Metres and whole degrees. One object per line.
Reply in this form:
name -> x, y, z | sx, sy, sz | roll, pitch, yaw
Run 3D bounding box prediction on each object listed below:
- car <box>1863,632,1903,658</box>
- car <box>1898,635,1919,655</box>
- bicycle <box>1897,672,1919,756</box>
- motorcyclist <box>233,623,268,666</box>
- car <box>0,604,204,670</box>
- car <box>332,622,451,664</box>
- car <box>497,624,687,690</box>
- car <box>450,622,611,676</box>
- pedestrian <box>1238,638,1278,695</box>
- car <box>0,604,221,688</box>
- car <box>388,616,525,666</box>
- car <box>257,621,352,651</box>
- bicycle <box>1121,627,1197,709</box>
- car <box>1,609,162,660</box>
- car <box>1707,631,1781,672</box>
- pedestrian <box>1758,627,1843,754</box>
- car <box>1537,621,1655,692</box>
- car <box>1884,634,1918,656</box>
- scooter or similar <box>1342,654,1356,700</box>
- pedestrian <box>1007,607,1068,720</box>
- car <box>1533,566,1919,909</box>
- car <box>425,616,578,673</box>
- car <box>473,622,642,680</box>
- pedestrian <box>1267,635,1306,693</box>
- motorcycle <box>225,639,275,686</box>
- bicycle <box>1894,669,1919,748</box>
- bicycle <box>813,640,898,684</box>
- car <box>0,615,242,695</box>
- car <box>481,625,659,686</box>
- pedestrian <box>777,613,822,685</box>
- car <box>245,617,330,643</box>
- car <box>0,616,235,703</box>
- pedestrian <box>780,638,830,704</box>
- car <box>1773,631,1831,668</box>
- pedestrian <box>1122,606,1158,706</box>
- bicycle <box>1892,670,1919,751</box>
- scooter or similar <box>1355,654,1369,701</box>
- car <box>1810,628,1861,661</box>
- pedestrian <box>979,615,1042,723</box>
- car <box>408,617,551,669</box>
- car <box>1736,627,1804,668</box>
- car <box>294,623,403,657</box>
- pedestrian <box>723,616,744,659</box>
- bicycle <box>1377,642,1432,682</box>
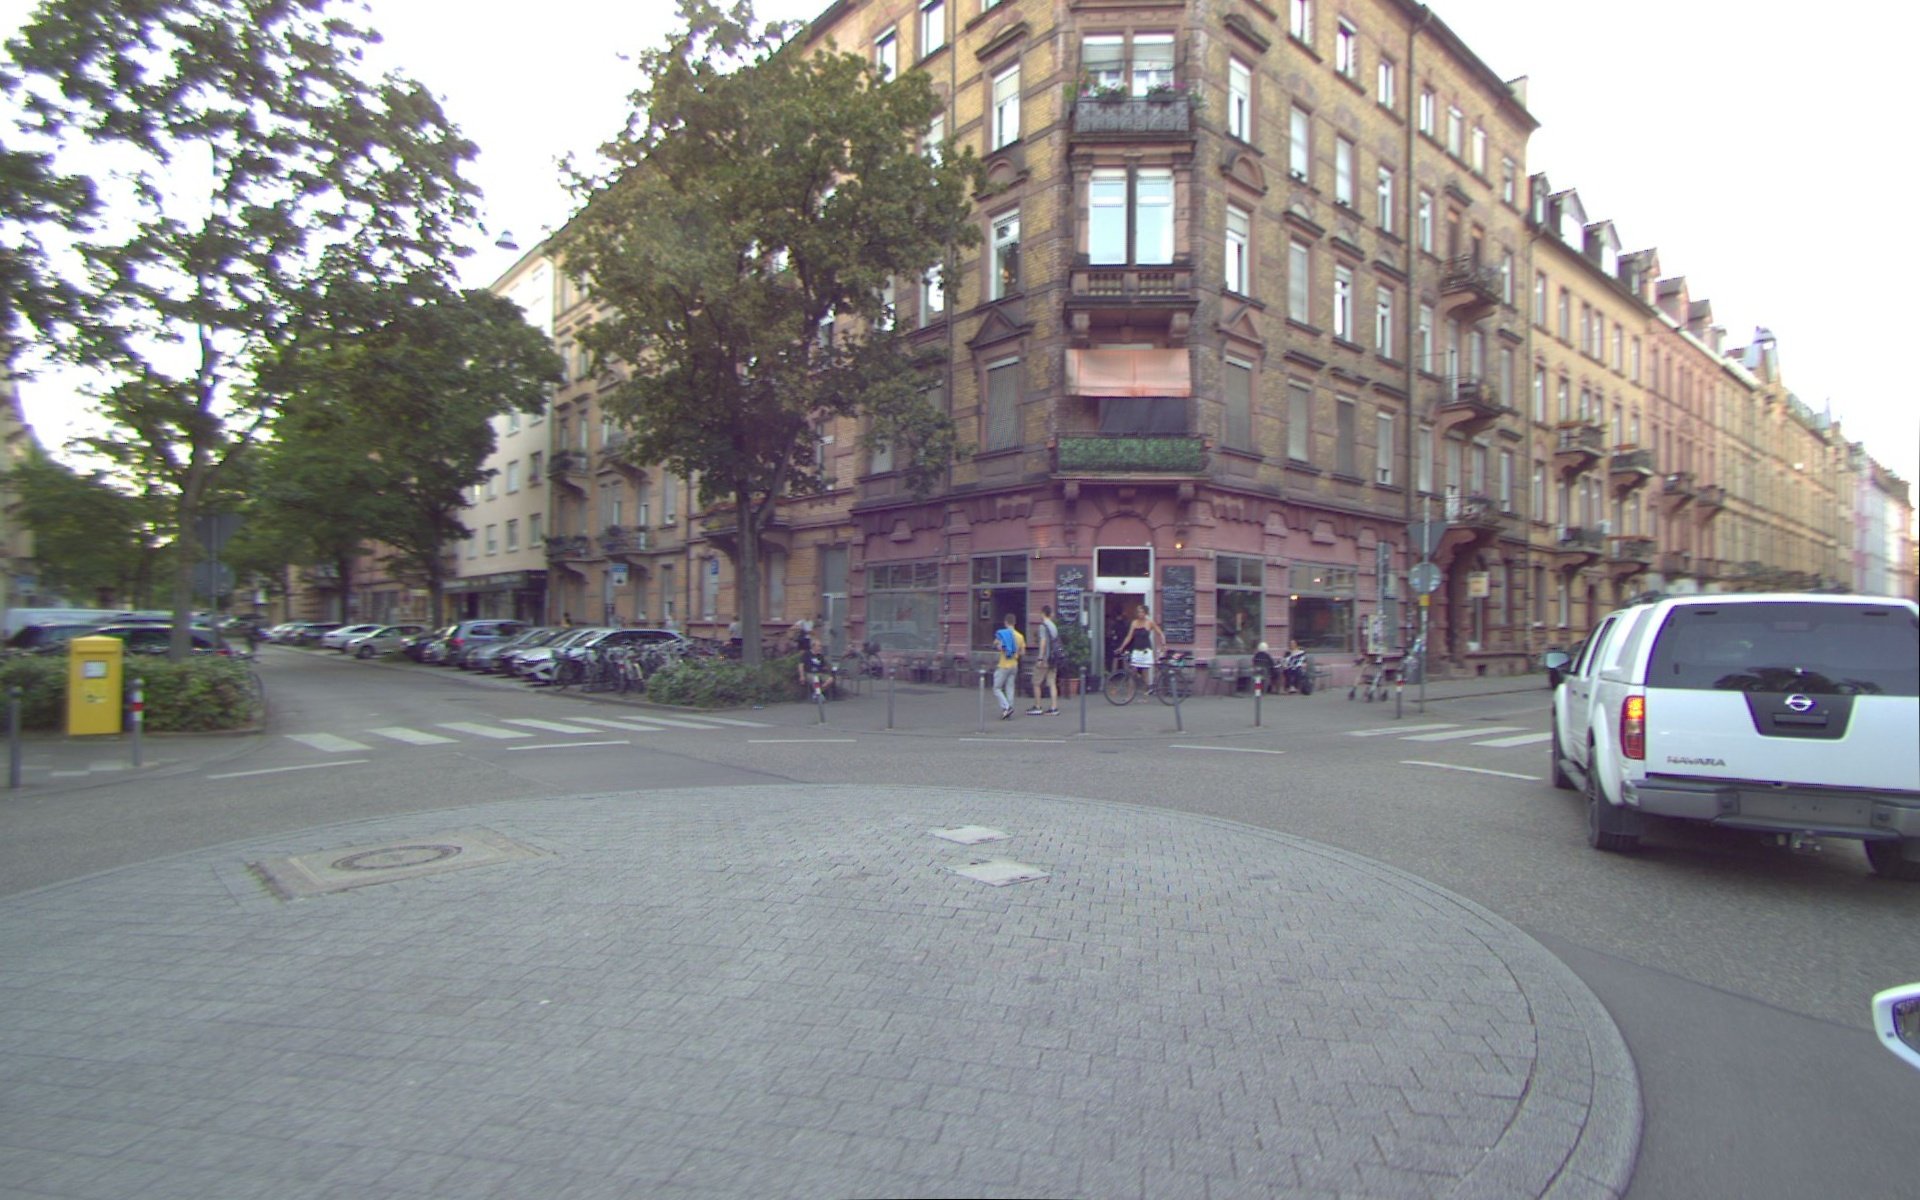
car -> 67.152, 3.241, 73.051 | 3.972, 1.773, 1.817 | 2, -1, -43
car -> 85.862, 4.065, 90.436 | 3.972, 1.773, 1.817 | 2, -1, -43
bicycle -> 13.125, 1.404, 12.243 | 2.436, 1.052, 0.613 | -5, -5, 44
motorcyclist -> -34.465, 2.159, 48.766 | 1.025, 2.040, 1.160 | 1, -1, 43
car -> -28.013, 1.211, 32.922 | 4.970, 1.977, 1.975 | 2, -1, -43
car -> -26.254, 1.980, 46.470 | 4.465, 1.822, 1.975 | 2, -1, -43
car -> -10.024, 1.516, 27.554 | 4.465, 1.599, 1.975 | 2, -1, -43
car -> -14.147, 1.605, 33.233 | 4.465, 1.599, 1.975 | 2, -1, -43
pedestrian -> 6.637, 1.474, 22.381 | 0.642, 1.206, 0.536 | 1, -1, 45
car -> -20.952, 1.098, 24.535 | 4.465, 1.855, 1.975 | 2, -1, -43
car -> -19.913, 1.625, 39.844 | 4.465, 1.822, 1.975 | 2, -1, -43
car -> -38.757, 2.131, 59.457 | 4.465, 1.636, 1.975 | 2, -1, -43
bicycle -> 3.744, 1.252, 18.784 | 0.419, 1.461, 1.893 | 1, -1, 43
car -> -36.873, 1.446, 42.277 | 4.970, 1.977, 1.975 | 2, -1, -43
car -> 32.738, 2.145, 41.893 | 4.009, 1.567, 1.817 | 2, -1, -43
pedestrian -> 11.620, 1.218, 13.887 | 0.938, 1.642, 0.790 | 2, -1, -44
car -> 17.730, 1.531, 27.943 | 3.972, 1.773, 1.817 | 2, -1, -43
car -> 81.009, 3.858, 86.466 | 3.972, 1.773, 1.817 | 2, -1, -43
scooter or similar -> 8.526, 1.665, 21.995 | 0.229, 0.941, 1.265 | 1, -1, 23
pedestrian -> 1.356, 1.095, 17.574 | 0.888, 1.910, 0.616 | 2, 0, 18
car -> 5.785, 0.828, 7.842 | 1.908, 1.834, 4.997 | 0, -2, 25
car -> -15.983, 1.542, 35.130 | 4.465, 1.822, 1.975 | 2, -1, -43
car -> -12.502, 1.565, 31.344 | 4.465, 1.641, 1.975 | 2, -1, -43
pedestrian -> 7.525, 1.464, 23.154 | 0.642, 1.303, 0.536 | 1, -1, 45
motorcycle -> -34.553, 3.009, 48.853 | 3.944, 2.040, 1.160 | 1, -1, 43
bicycle -> 14.020, 1.437, 13.254 | 2.436, 1.052, 0.613 | -5, -5, 44
bicycle -> -2.758, 1.586, 26.235 | 0.621, 0.971, 2.869 | 2, -1, -42
car -> -19.134, 1.205, 22.738 | 4.465, 1.599, 1.975 | 2, -1, -43
car -> -11.379, 1.596, 29.488 | 4.465, 1.599, 1.975 | 2, -1, -43
pedestrian -> -4.000, 1.202, 24.983 | 0.663, 1.748, 0.910 | 2, -1, -42
car -> -45.022, 2.041, 67.341 | 4.465, 1.636, 1.975 | 2, -1, -43
car -> -17.764, 1.179, 20.618 | 4.465, 1.599, 1.975 | 2, -1, -43
pedestrian -> -3.144, 1.424, 20.330 | 0.663, 1.279, 0.747 | 2, -1, -42
car -> 43.811, 2.556, 52.228 | 3.972, 1.773, 1.817 | 2, -1, -43
pedestrian -> 3.450, 1.052, 19.220 | 0.496, 1.864, 0.572 | 1, 0, 26
bicycle -> 13.556, 1.416, 12.776 | 2.436, 1.052, 0.613 | -5, -5, 44
scooter or similar -> 8.764, 1.671, 21.895 | 0.229, 0.941, 1.265 | 1, -1, 23
car -> 50.888, 2.564, 58.375 | 3.972, 1.773, 1.817 | 2, -1, -43
pedestrian -> 0.838, 1.141, 16.939 | 0.609, 1.759, 0.898 | 2, -1, -33
car -> -18.035, 1.608, 37.819 | 4.465, 1.822, 1.975 | 2, -1, -43
car -> 36.487, 2.141, 45.216 | 4.009, 1.700, 1.817 | 2, -1, -43
car -> -31.404, 2.046, 51.662 | 4.465, 1.636, 1.975 | 2, -1, -43
pedestrian -> -6.890, 1.128, 30.517 | 0.566, 1.279, 0.455 | 2, 0, -17
bicycle -> 12.452, 1.727, 28.102 | 2.463, 1.050, 0.383 | 2, -1, -41
